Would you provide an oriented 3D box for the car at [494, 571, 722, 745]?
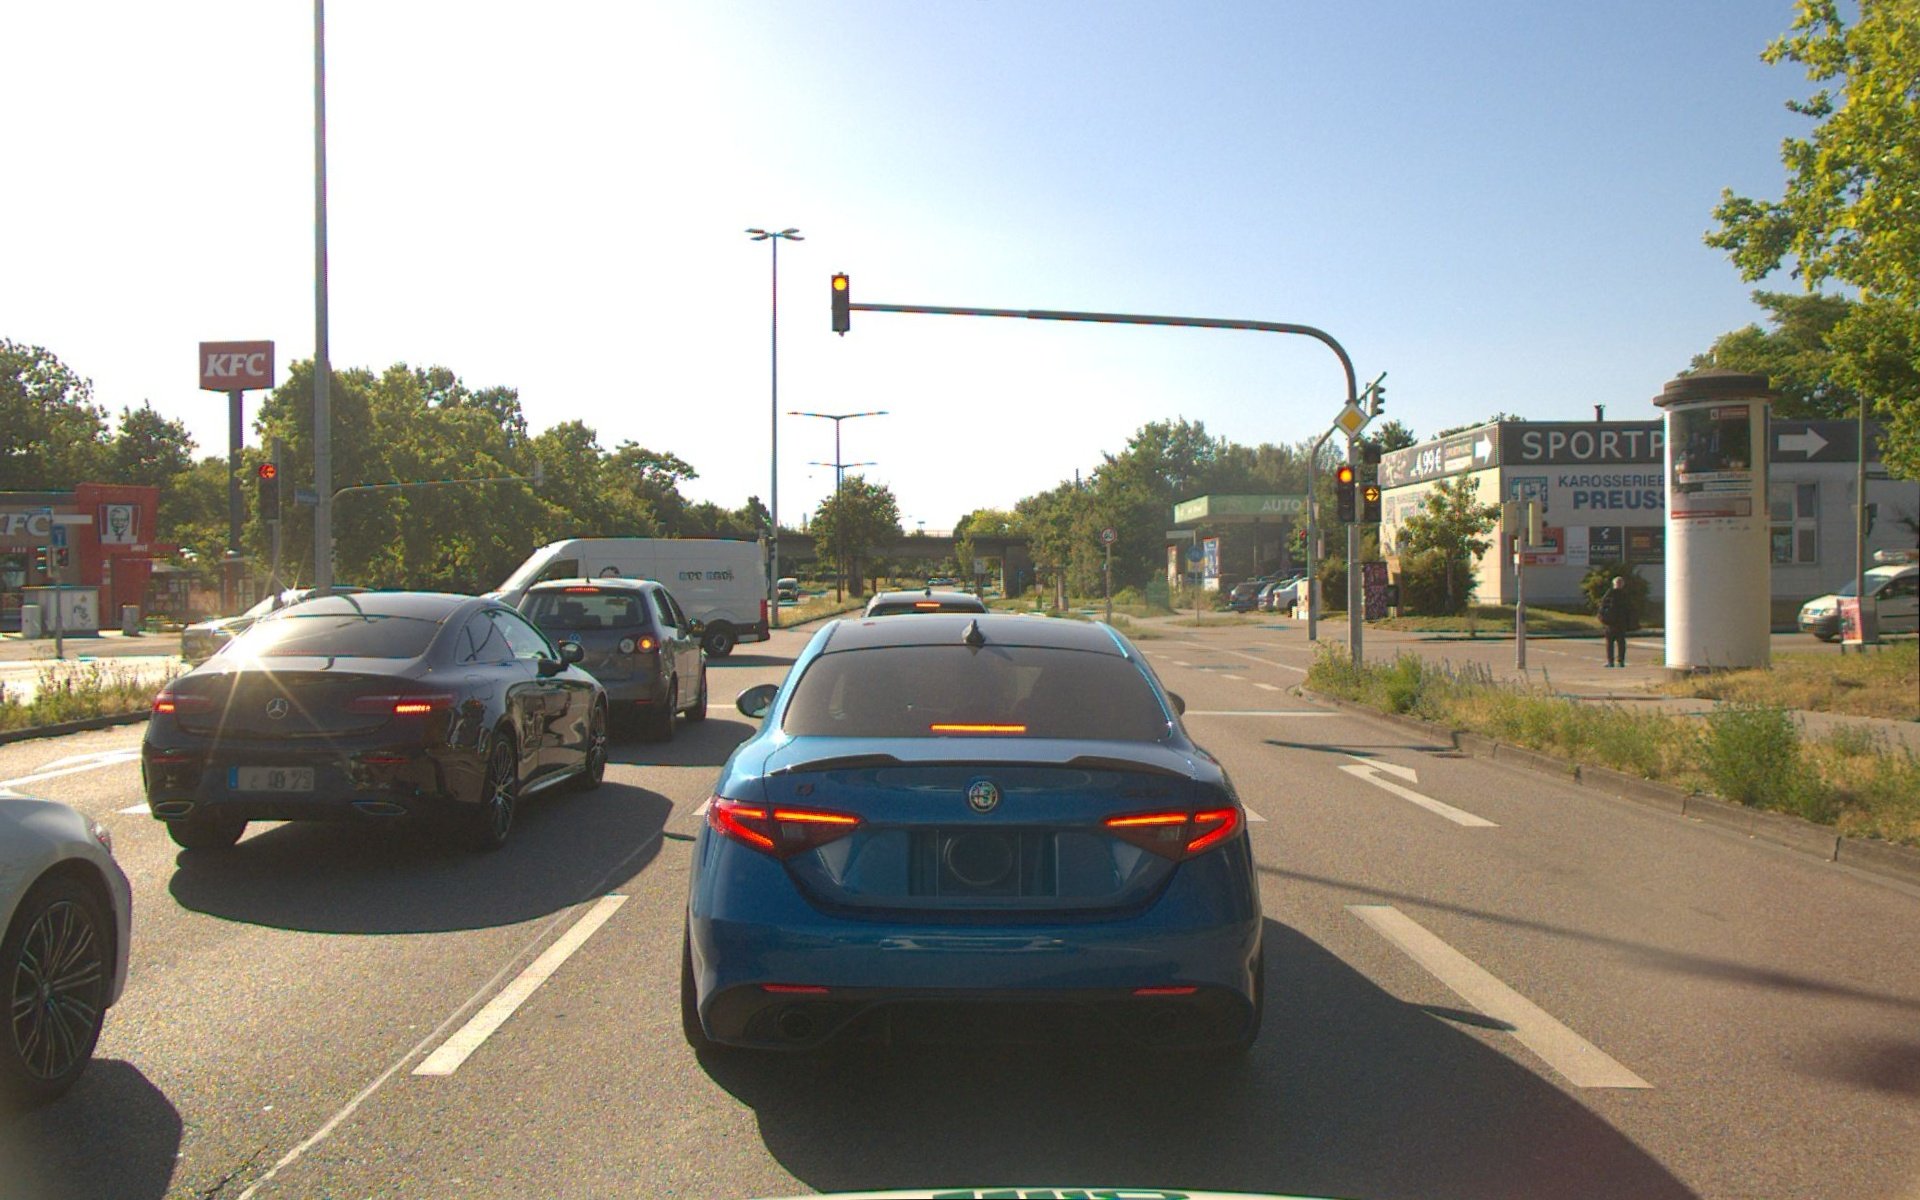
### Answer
[{"bbox_3d":[-3.583,0.527,17.470,1.615,1.626,3.931,0,0,-1],"label":"car"}]

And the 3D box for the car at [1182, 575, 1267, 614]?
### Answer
[{"bbox_3d":[11.875,-0.259,74.345,3.428,1.736,1.688,0,0,-17],"label":"car"}]

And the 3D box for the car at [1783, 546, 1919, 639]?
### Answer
[{"bbox_3d":[22.619,-0.189,40.178,4.318,2.183,1.998,0,0,-4],"label":"car"}]

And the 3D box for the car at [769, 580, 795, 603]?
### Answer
[{"bbox_3d":[-19.418,-0.954,180.204,2.383,2.469,5.828,0,0,-2],"label":"car"}]

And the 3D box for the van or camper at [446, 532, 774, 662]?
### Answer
[{"bbox_3d":[-7.511,-0.090,35.824,6.657,2.617,2.164,0,0,-29],"label":"van or camper"}]

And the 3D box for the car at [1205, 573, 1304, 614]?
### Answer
[{"bbox_3d":[12.670,-0.265,71.166,3.928,1.736,1.686,0,0,-20],"label":"car"}]

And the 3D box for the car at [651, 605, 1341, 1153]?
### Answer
[{"bbox_3d":[0.072,0.750,6.365,1.828,1.409,3.931,0,0,-1],"label":"car"}]

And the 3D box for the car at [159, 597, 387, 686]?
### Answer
[{"bbox_3d":[-14.174,0.797,34.448,1.951,1.682,4.617,0,0,16],"label":"car"}]

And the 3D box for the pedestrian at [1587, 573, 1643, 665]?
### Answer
[{"bbox_3d":[12.676,0.360,32.029,0.805,1.752,0.854,0,0,6],"label":"pedestrian"}]

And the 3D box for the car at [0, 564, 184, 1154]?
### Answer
[{"bbox_3d":[-3.349,0.685,3.109,1.732,1.535,4.460,0,0,-1],"label":"car"}]

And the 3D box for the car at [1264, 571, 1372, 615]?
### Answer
[{"bbox_3d":[14.343,-0.275,66.336,3.923,1.736,1.687,0,0,-17],"label":"car"}]

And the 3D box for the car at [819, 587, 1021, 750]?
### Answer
[{"bbox_3d":[-0.393,0.611,17.068,1.828,1.475,3.931,0,0,-1],"label":"car"}]

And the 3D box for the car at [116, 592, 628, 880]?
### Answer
[{"bbox_3d":[-3.414,0.672,10.582,1.732,1.439,4.460,0,0,-1],"label":"car"}]
